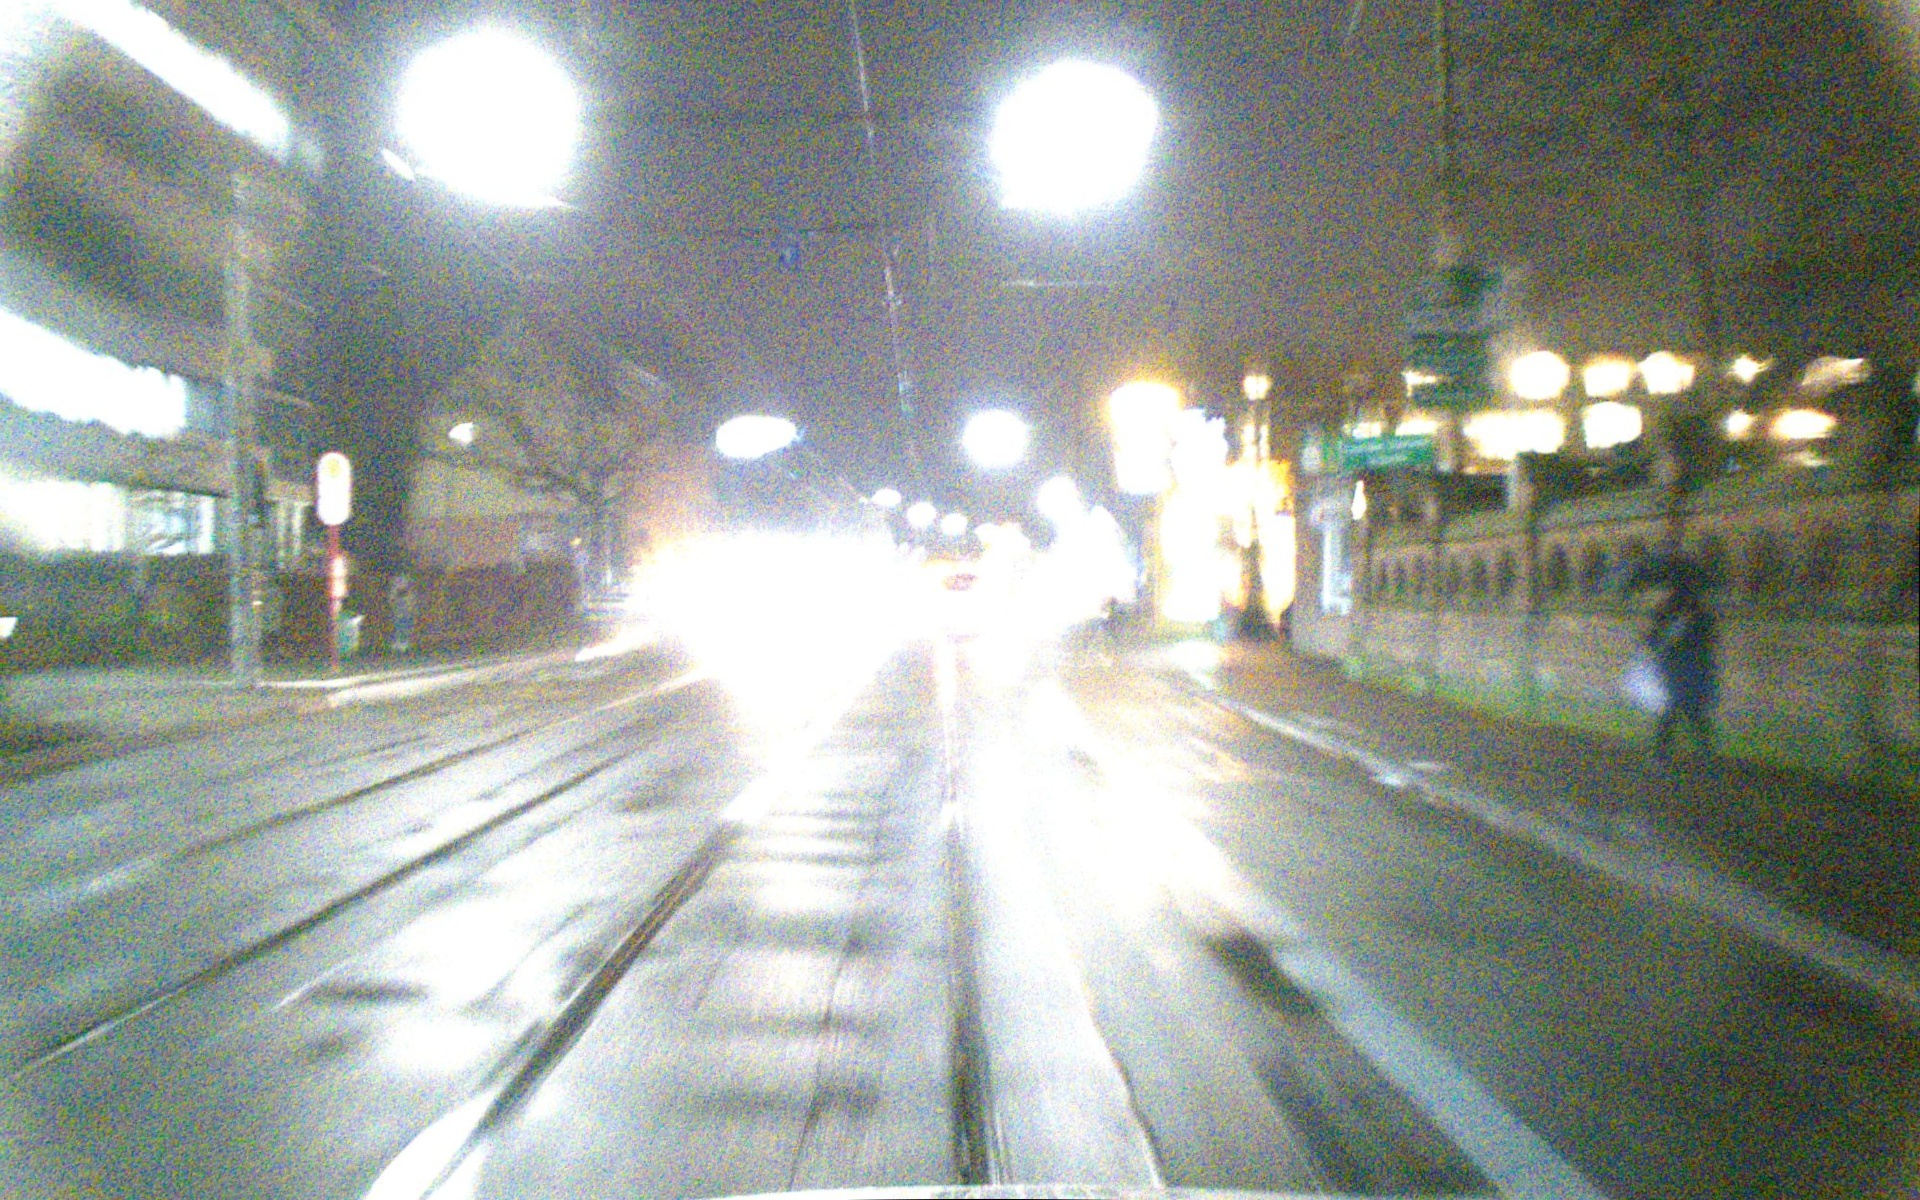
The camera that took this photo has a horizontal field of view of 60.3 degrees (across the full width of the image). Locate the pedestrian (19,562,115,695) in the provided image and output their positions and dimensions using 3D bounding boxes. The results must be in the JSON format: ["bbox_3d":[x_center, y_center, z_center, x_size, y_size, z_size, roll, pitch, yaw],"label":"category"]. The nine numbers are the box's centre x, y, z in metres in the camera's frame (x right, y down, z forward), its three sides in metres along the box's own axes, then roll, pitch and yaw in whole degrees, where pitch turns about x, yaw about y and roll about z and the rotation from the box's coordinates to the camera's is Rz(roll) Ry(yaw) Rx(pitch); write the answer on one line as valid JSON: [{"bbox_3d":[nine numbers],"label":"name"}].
[{"bbox_3d":[-11.762,0.370,21.805,0.770,1.716,0.882,0,0,-1],"label":"pedestrian"}]

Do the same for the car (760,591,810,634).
[{"bbox_3d":[-7.426,0.505,70.478,1.954,1.754,4.073,0,0,-4],"label":"car"}]

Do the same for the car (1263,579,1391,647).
[{"bbox_3d":[9.883,0.334,44.320,1.989,1.730,4.109,0,0,34],"label":"car"}]

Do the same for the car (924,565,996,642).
[{"bbox_3d":[-0.041,0.110,53.736,2.199,2.402,4.392,0,0,-2],"label":"car"}]

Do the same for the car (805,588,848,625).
[{"bbox_3d":[-7.332,0.340,90.920,2.274,1.966,4.959,0,0,-4],"label":"car"}]

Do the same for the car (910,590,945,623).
[{"bbox_3d":[-1.884,0.371,94.129,1.953,1.847,3.999,0,0,-2],"label":"car"}]

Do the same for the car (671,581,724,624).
[{"bbox_3d":[-12.795,0.100,80.800,1.953,2.049,4.000,0,0,0],"label":"car"}]

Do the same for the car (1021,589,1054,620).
[{"bbox_3d":[5.256,0.292,112.757,1.953,2.049,3.999,0,0,-1],"label":"car"}]

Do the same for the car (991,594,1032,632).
[{"bbox_3d":[2.550,0.615,82.076,1.974,1.847,4.001,0,0,1],"label":"car"}]

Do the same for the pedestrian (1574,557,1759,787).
[{"bbox_3d":[5.506,0.538,12.950,0.921,1.693,0.993,-2,0,-5],"label":"pedestrian"}]

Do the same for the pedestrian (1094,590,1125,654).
[{"bbox_3d":[4.286,0.632,47.385,0.761,1.807,0.694,0,0,16],"label":"pedestrian"}]
